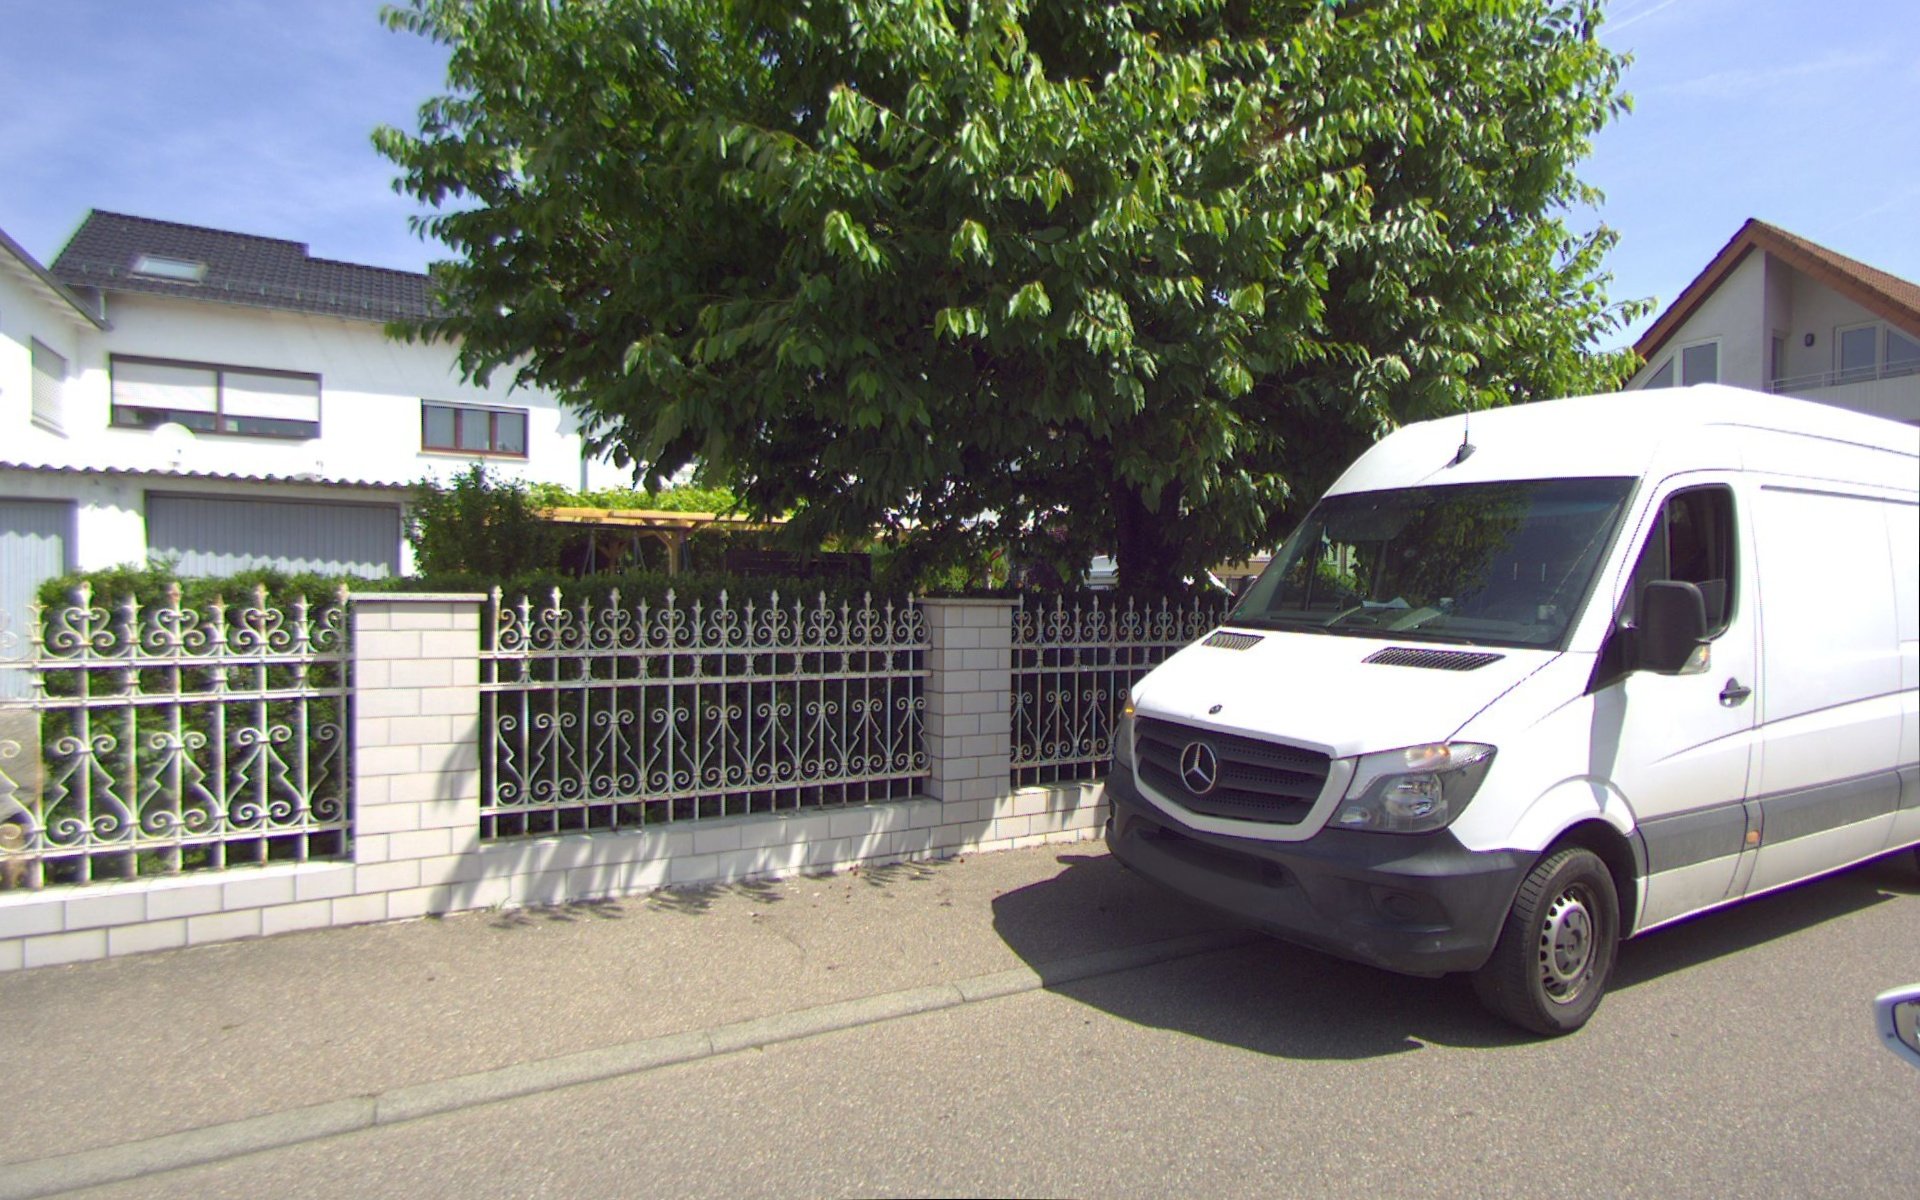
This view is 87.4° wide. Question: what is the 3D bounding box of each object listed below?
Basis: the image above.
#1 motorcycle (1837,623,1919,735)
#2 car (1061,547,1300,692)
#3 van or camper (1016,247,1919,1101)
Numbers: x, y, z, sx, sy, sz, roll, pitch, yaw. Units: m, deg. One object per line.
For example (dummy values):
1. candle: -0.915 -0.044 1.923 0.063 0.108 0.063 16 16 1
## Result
1. motorcycle: 12.986 1.038 13.745 2.325 1.411 0.779 1 0 -31
2. car: 4.212 0.342 20.040 1.943 2.526 4.779 1 0 -30
3. van or camper: 3.743 0.271 5.701 6.726 2.606 2.174 1 1 -30
